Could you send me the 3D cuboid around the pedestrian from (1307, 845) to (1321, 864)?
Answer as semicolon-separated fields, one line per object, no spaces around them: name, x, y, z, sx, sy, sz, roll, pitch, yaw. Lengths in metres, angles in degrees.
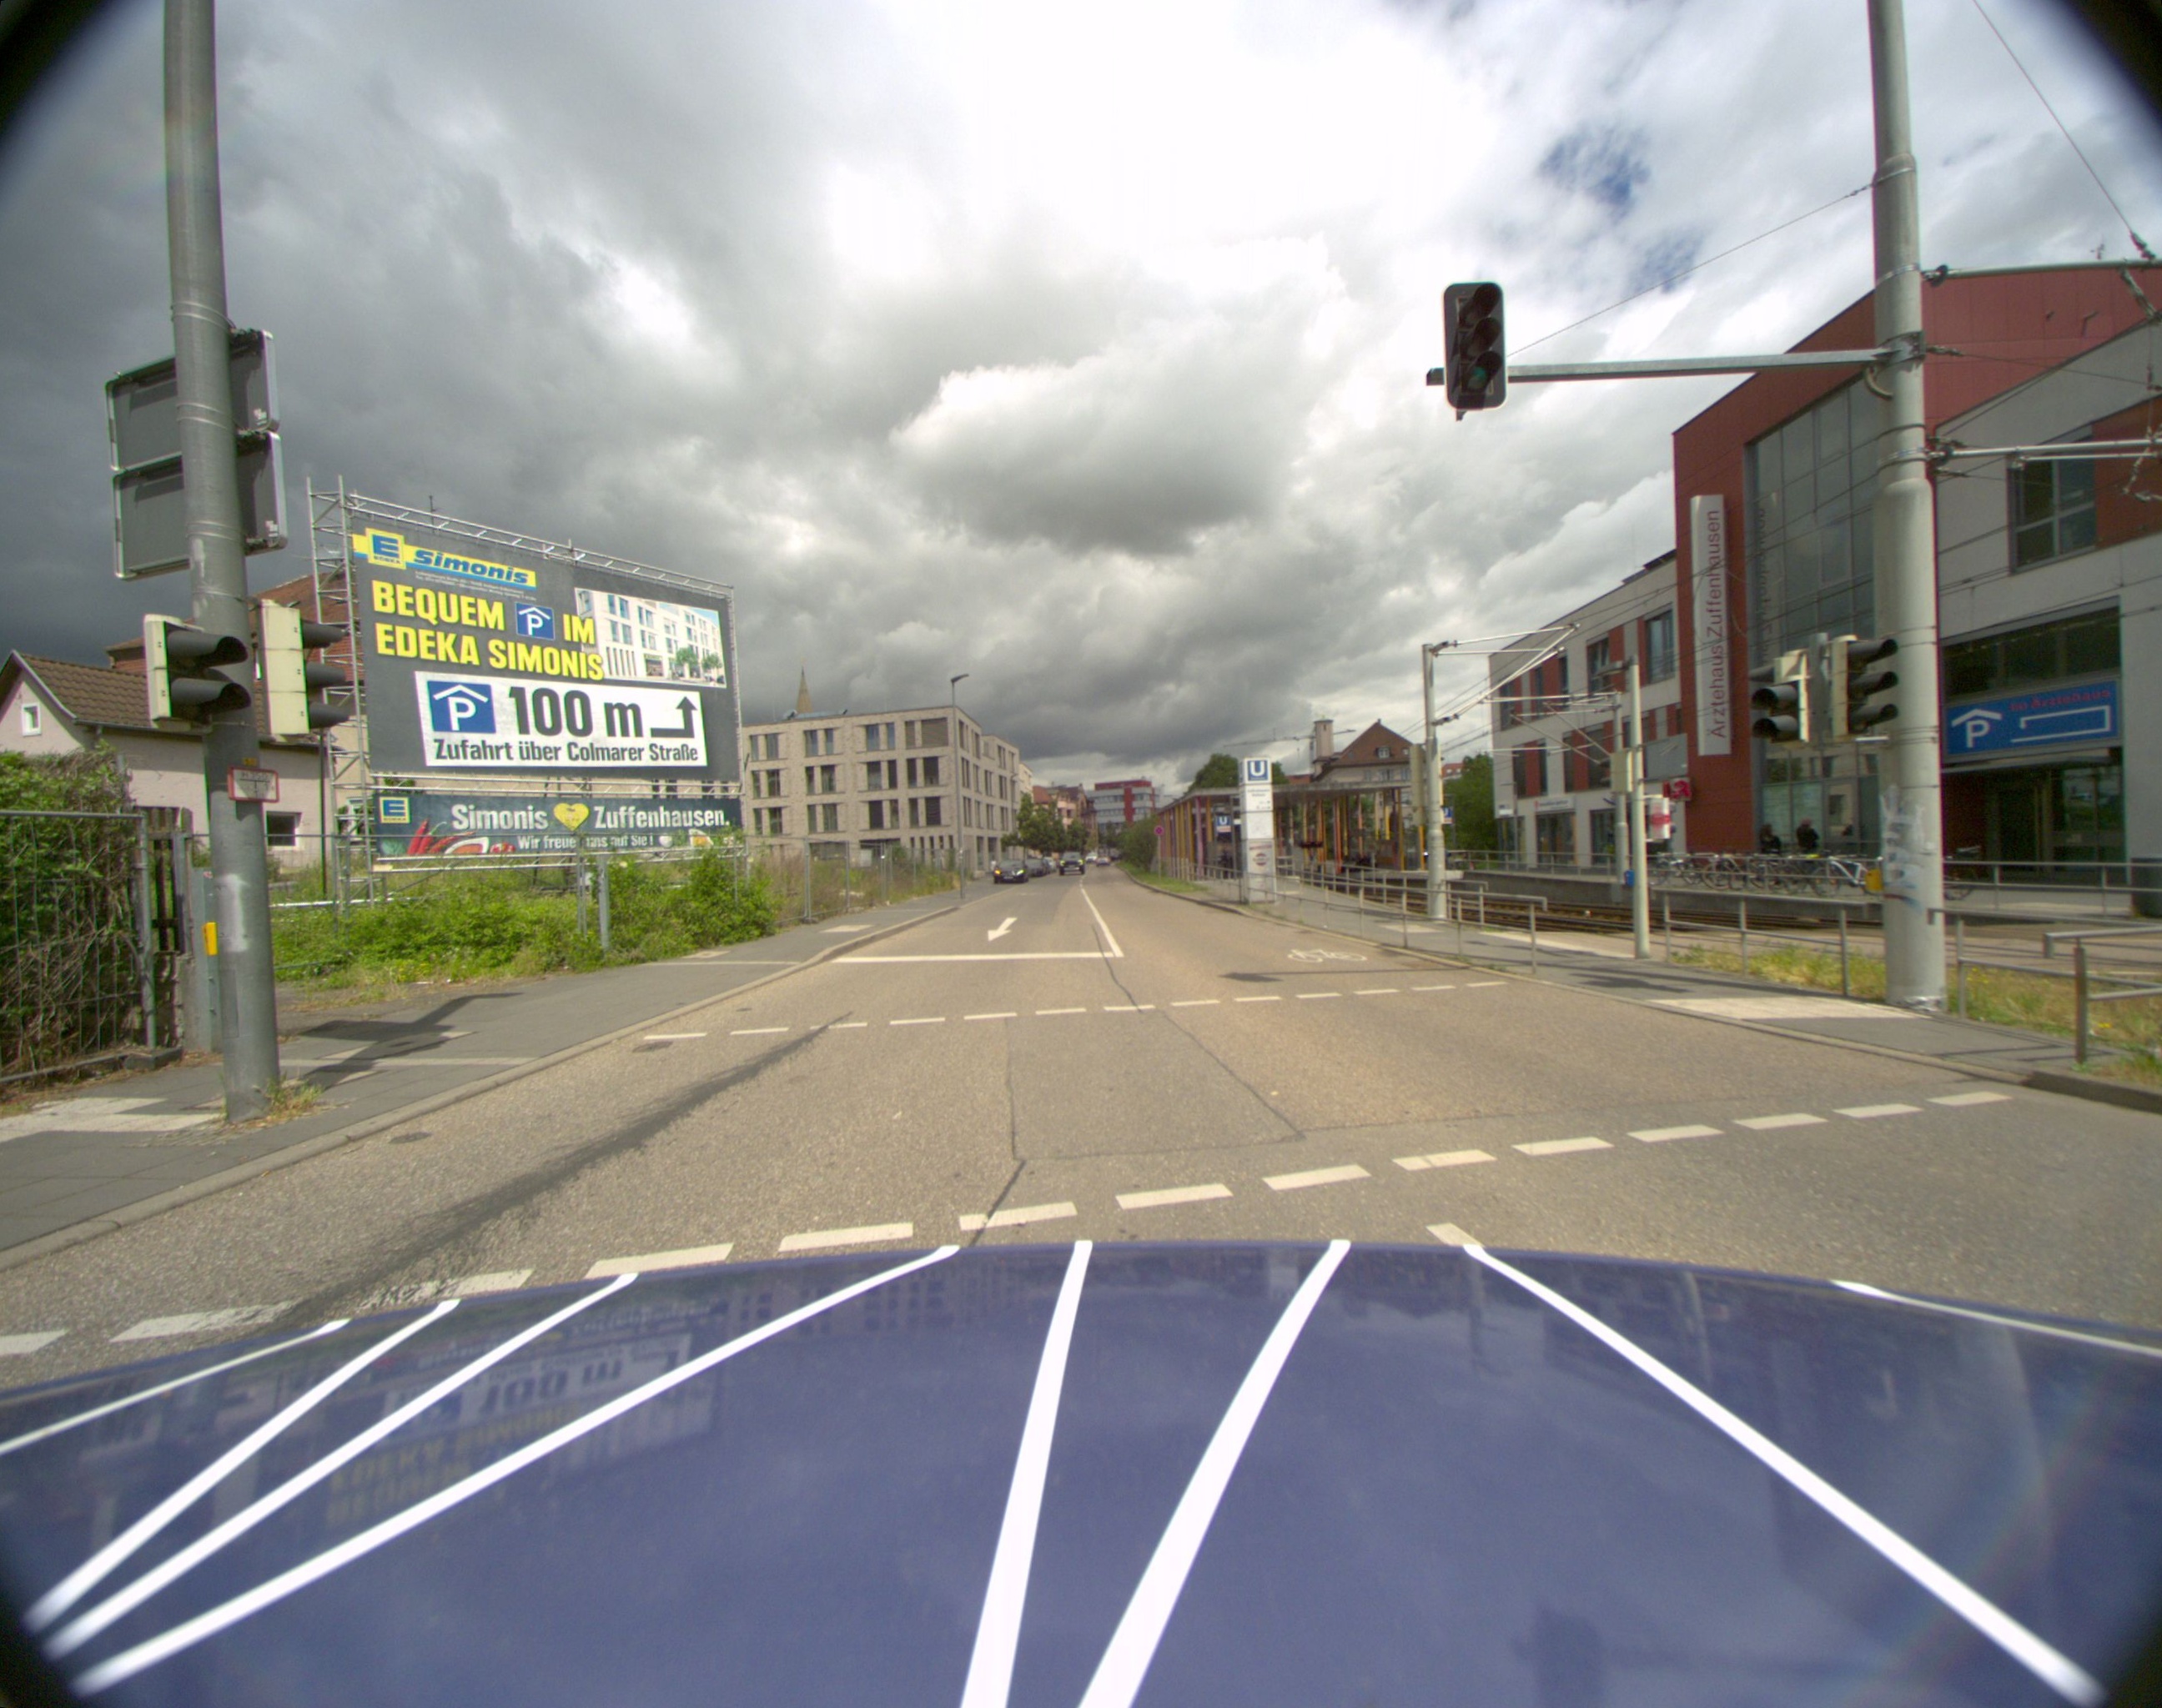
pedestrian;24.410;0.075;79.505;1.127;2.002;1.179;-1;0;6

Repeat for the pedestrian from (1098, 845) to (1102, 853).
pedestrian;3.719;-0.977;147.667;0.673;1.503;0.783;-1;0;3

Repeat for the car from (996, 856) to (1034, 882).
car;-3.933;0.867;45.826;1.677;1.415;3.795;-1;1;3

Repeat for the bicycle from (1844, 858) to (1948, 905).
bicycle;17.789;0.598;16.604;1.739;0.952;0.428;-2;1;4

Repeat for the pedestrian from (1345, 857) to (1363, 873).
pedestrian;19.451;0.769;54.186;0.943;1.128;0.886;-1;0;3

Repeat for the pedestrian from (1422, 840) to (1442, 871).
pedestrian;22.438;0.078;48.556;0.863;1.957;1.106;-1;2;6

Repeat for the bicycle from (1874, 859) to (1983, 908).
bicycle;17.798;0.612;15.971;1.739;0.947;0.428;-2;1;4

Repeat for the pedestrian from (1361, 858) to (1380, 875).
pedestrian;19.519;0.820;51.281;0.943;1.128;0.886;-1;0;3

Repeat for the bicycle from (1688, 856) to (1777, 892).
bicycle;17.664;0.532;20.628;1.861;0.917;0.455;-2;1;9

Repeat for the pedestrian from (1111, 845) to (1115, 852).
pedestrian;6.799;-1.213;160.053;0.673;1.503;0.783;-1;0;11

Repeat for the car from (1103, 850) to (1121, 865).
car;4.186;0.444;102.889;1.997;2.002;4.002;-1;0;7

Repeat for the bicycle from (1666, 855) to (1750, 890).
bicycle;17.694;0.517;21.457;1.861;0.927;0.455;-2;1;9

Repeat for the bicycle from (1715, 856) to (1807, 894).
bicycle;17.642;0.538;19.727;1.861;0.934;0.454;-2;1;5

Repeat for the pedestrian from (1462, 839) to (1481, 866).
pedestrian;29.281;-0.108;56.957;1.103;1.957;0.865;0;2;18

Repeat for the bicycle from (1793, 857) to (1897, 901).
bicycle;17.728;0.579;17.644;1.862;0.930;0.454;-2;1;4

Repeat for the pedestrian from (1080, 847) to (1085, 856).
pedestrian;0.260;-0.484;131.760;0.673;1.503;0.783;-1;0;16

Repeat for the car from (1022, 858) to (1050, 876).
car;-3.506;1.010;59.672;1.677;1.367;3.795;-1;0;3

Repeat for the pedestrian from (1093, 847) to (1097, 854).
pedestrian;2.737;-0.675;147.910;0.673;1.503;0.783;-1;0;3

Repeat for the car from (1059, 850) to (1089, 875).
car;-0.508;0.653;62.354;2.003;1.876;5.151;-1;1;4

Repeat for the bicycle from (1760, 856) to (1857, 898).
bicycle;17.770;0.548;18.575;1.862;0.957;0.454;-2;1;4

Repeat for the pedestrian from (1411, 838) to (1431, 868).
pedestrian;22.196;-0.075;49.646;0.864;1.957;1.106;-1;2;3

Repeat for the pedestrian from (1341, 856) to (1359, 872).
pedestrian;19.562;0.706;55.280;0.943;1.128;0.886;-1;0;3

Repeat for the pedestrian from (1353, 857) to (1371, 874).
pedestrian;19.329;0.805;52.238;0.943;1.128;0.886;-1;0;3

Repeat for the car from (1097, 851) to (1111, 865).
car;2.874;0.523;94.735;1.588;1.528;3.946;-5;1;2

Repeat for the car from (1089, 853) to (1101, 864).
car;2.101;0.676;116.133;1.719;1.541;3.793;-1;0;1

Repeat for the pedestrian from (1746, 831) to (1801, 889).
pedestrian;20.731;0.178;22.752;0.789;1.688;0.934;-1;2;-17

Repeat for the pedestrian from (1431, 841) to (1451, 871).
pedestrian;23.717;0.116;50.022;0.863;1.957;1.106;-1;2;6

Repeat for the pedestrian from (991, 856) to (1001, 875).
pedestrian;-6.821;0.944;61.205;0.673;1.503;0.782;-1;0;1

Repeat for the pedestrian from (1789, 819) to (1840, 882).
pedestrian;22.123;-0.112;22.923;0.881;1.835;0.862;-4;3;-27

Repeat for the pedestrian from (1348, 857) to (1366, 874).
pedestrian;19.349;0.788;53.196;0.943;1.128;0.886;-1;0;3

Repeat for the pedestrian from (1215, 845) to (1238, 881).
pedestrian;7.907;0.467;41.300;1.105;1.903;0.864;-1;2;2

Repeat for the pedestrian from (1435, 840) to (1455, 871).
pedestrian;23.219;0.101;48.473;0.863;1.957;1.106;-1;2;6

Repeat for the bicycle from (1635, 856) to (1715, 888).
bicycle;17.641;0.531;22.585;1.861;0.876;0.455;-2;1;9
